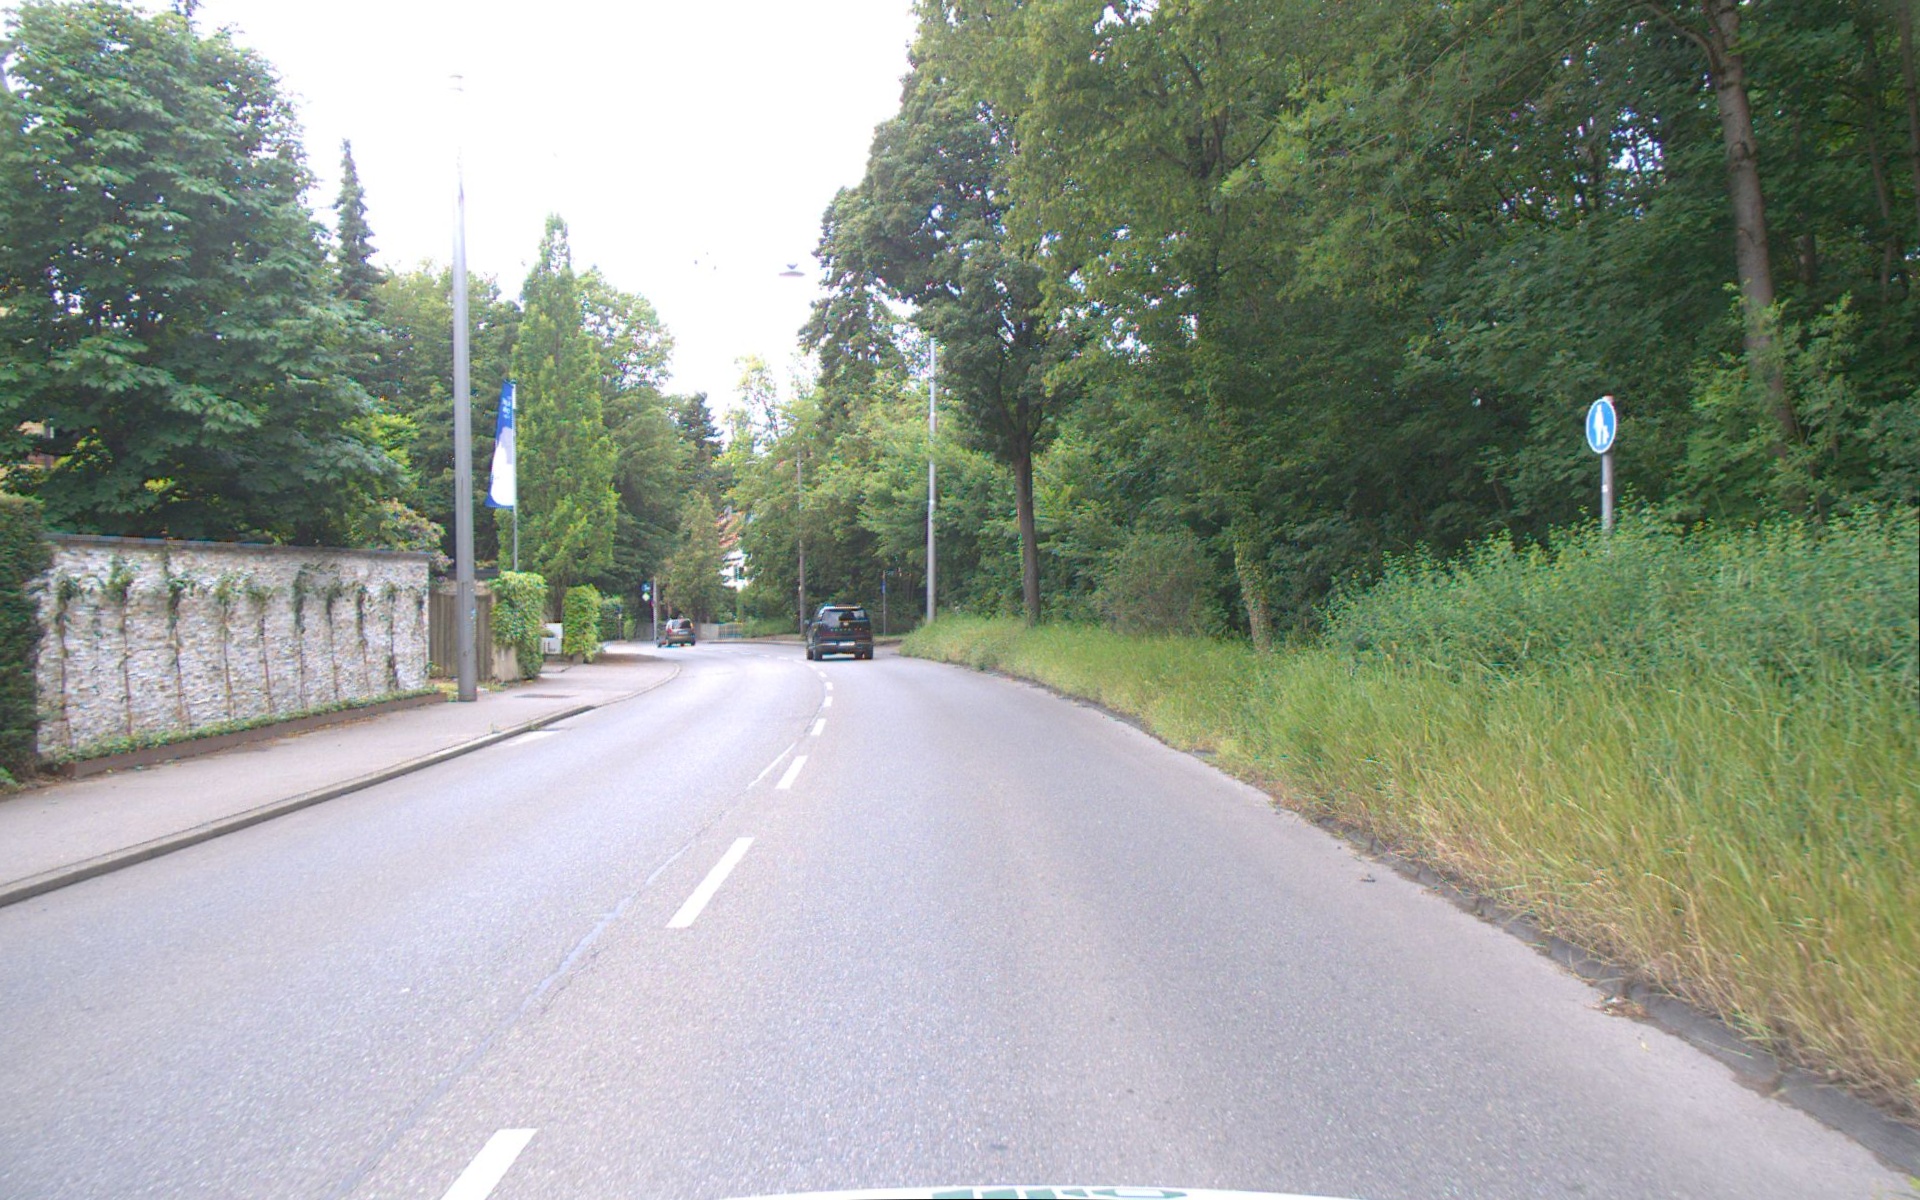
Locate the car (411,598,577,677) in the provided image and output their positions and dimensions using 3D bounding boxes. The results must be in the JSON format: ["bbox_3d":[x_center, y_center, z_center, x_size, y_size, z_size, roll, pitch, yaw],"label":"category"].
[{"bbox_3d":[-13.289,1.061,46.974,2.407,2.109,5.277,-1,-1,-43],"label":"car"}]

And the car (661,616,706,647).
[{"bbox_3d":[-15.937,1.787,95.282,1.963,1.646,3.979,-1,0,-18],"label":"car"}]

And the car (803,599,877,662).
[{"bbox_3d":[-3.900,0.942,53.233,1.957,1.914,3.991,-1,0,-10],"label":"car"}]
